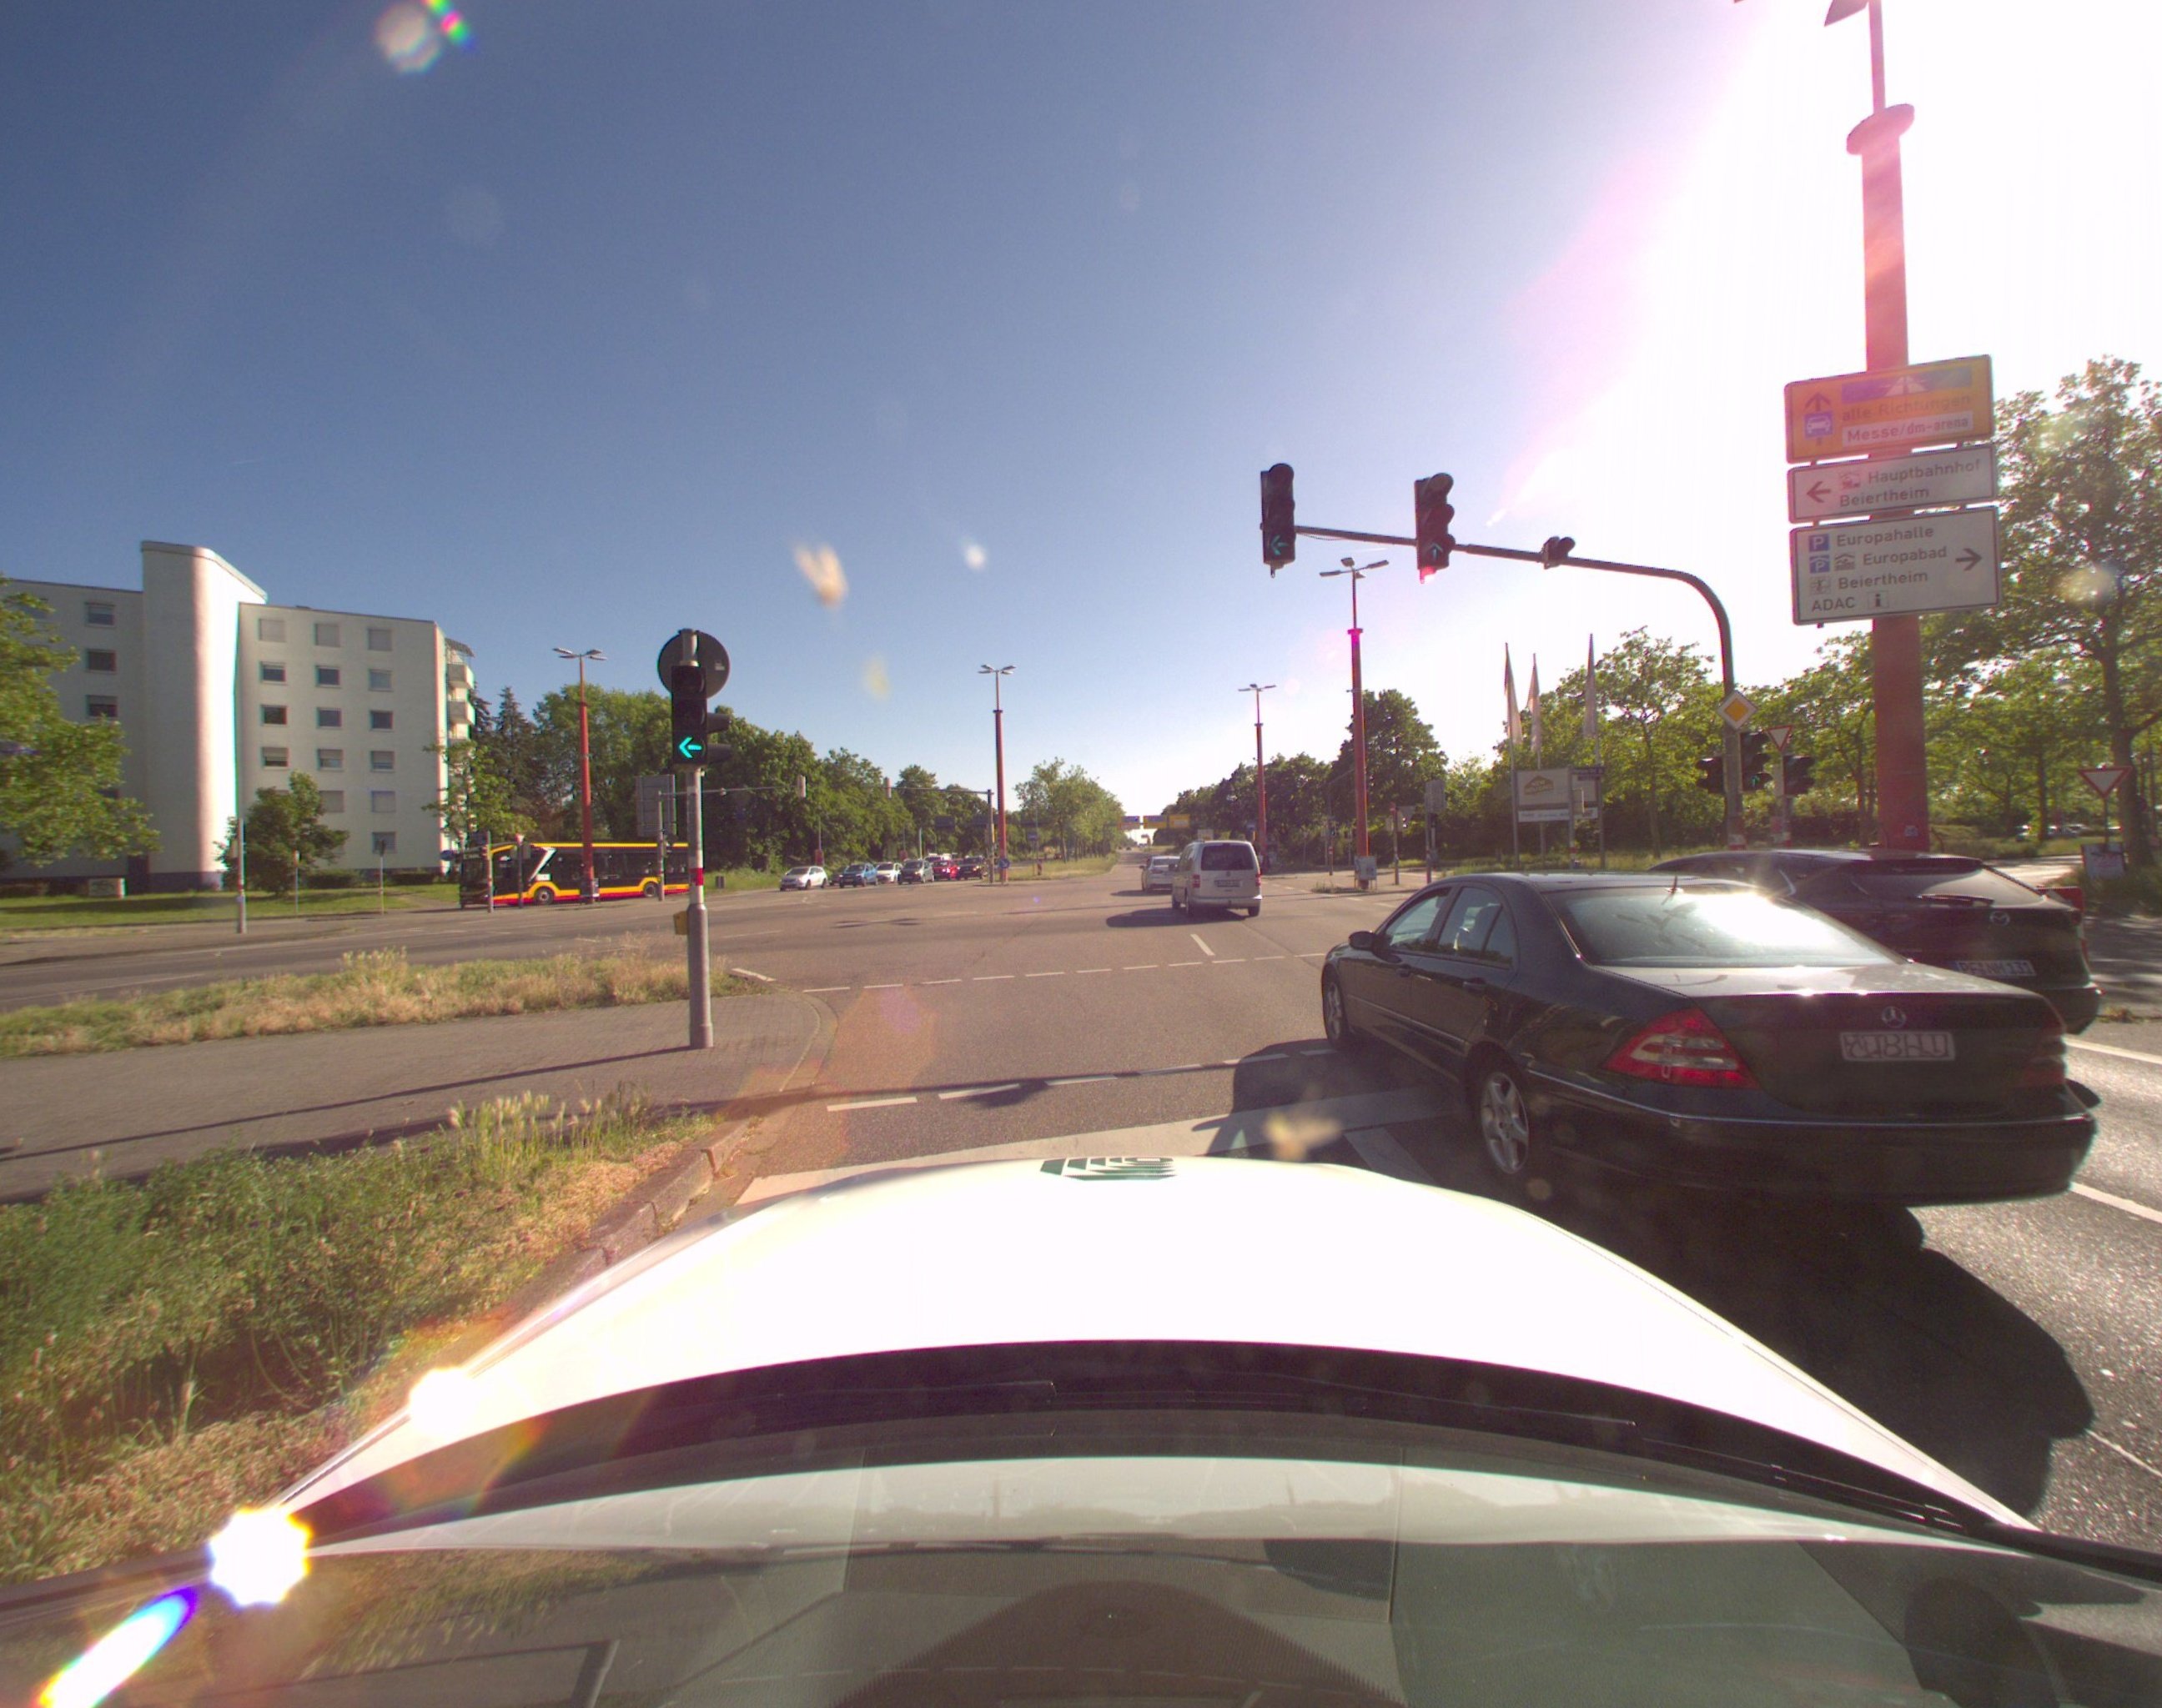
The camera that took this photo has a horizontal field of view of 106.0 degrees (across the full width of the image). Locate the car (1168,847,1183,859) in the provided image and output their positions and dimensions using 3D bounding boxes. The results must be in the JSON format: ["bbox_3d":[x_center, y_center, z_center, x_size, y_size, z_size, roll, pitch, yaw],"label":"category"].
[{"bbox_3d":[13.522,-0.150,116.603,1.757,1.635,4.299,0,-1,1],"label":"car"}]

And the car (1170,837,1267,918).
[{"bbox_3d":[3.405,0.557,20.998,1.798,1.821,4.587,-1,-1,1],"label":"car"}]

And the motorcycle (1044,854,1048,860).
[{"bbox_3d":[-8.473,0.779,199.066,0.756,1.609,2.869,0,-1,3],"label":"motorcycle"}]

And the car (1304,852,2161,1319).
[{"bbox_3d":[2.745,0.743,4.744,1.707,1.454,4.197,-2,0,0],"label":"car"}]

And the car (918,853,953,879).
[{"bbox_3d":[-12.716,0.995,71.299,1.954,2.155,5.083,-2,0,1],"label":"car"}]

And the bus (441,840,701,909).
[{"bbox_3d":[-27.077,1.007,44.573,2.621,3.261,12.608,-1,-1,25],"label":"bus"}]

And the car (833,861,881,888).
[{"bbox_3d":[-14.129,1.282,51.614,1.794,1.515,3.861,-3,0,2],"label":"car"}]

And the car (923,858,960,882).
[{"bbox_3d":[-10.059,1.121,59.022,1.869,1.552,4.000,-5,0,0],"label":"car"}]

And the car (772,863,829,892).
[{"bbox_3d":[-17.636,1.420,51.415,1.869,1.652,4.222,-3,-1,3],"label":"car"}]

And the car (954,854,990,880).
[{"bbox_3d":[-7.520,0.854,56.701,1.787,1.626,4.144,-3,0,1],"label":"car"}]

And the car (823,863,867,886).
[{"bbox_3d":[-17.550,1.498,60.677,1.877,1.513,4.003,-3,0,3],"label":"car"}]

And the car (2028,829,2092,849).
[{"bbox_3d":[78.673,-1.170,65.448,4.134,1.517,1.855,0,-1,-18],"label":"car"}]

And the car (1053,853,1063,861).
[{"bbox_3d":[-5.297,0.700,189.591,1.908,1.846,3.963,-2,0,2],"label":"car"}]

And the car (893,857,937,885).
[{"bbox_3d":[-10.687,1.075,52.695,1.867,1.550,4.029,-3,0,2],"label":"car"}]

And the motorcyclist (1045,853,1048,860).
[{"bbox_3d":[-8.459,0.697,199.063,0.769,1.738,0.916,0,-1,2],"label":"motorcyclist"}]

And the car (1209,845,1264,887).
[{"bbox_3d":[7.373,0.541,39.142,1.797,1.852,5.106,-2,0,2],"label":"car"}]

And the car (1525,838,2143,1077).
[{"bbox_3d":[5.927,0.677,7.295,1.761,1.508,4.228,0,0,3],"label":"car"}]

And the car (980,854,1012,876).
[{"bbox_3d":[-6.671,0.858,64.165,1.878,1.543,4.002,-3,0,2],"label":"car"}]

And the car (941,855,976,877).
[{"bbox_3d":[-9.740,0.929,65.019,1.893,1.630,4.003,-1,0,3],"label":"car"}]

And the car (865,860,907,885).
[{"bbox_3d":[-13.766,1.284,57.761,1.895,1.555,4.000,-3,0,0],"label":"car"}]

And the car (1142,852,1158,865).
[{"bbox_3d":[7.885,0.546,93.641,1.756,1.441,4.299,0,0,4],"label":"car"}]

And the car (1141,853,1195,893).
[{"bbox_3d":[3.432,0.748,32.973,1.798,1.493,4.683,0,0,1],"label":"car"}]
